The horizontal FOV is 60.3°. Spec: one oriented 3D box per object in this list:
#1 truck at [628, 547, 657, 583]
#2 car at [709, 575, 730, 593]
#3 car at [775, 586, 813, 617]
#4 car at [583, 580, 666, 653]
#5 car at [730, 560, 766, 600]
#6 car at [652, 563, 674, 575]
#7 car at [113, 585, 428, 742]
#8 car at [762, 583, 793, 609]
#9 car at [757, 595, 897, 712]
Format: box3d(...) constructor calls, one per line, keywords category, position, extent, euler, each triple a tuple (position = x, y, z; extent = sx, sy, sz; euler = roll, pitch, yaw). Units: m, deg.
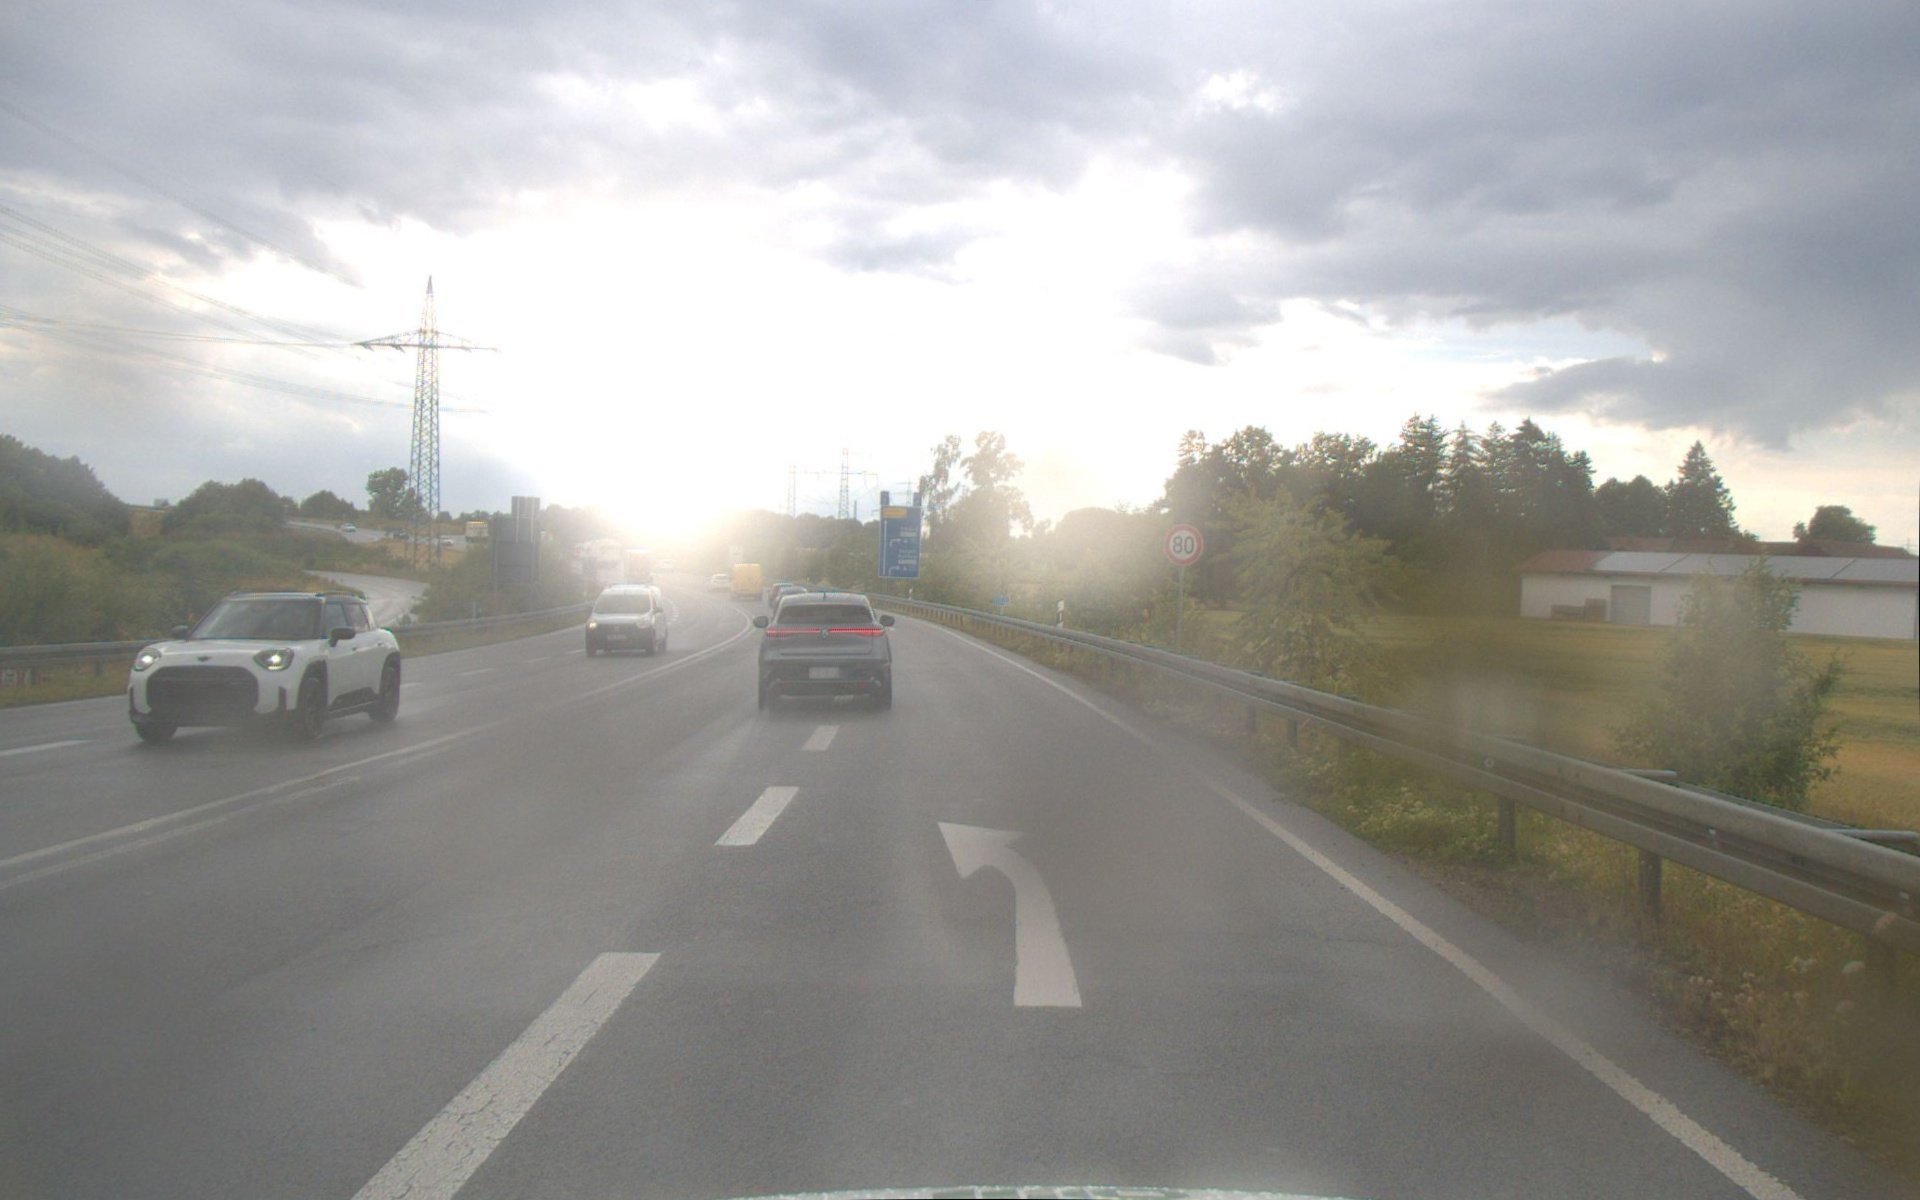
box3d(category="truck", position=(-31.513, -3.476, 164.062), extent=(2.438, 3.349, 7.255), euler=(-2, 2, -14))
box3d(category="car", position=(-20.803, -1.376, 142.944), extent=(1.758, 1.466, 3.992), euler=(-1, 1, -9))
box3d(category="car", position=(-8.153, 0.073, 81.298), extent=(1.757, 1.466, 3.995), euler=(-1, 0, -5))
box3d(category="car", position=(-8.625, 0.388, 42.805), extent=(1.756, 1.695, 4.362), euler=(3, 0, -8))
box3d(category="car", position=(-15.431, -1.411, 120.213), extent=(2.525, 2.773, 7.183), euler=(-1, 1, -8))
box3d(category="car", position=(-36.013, -3.725, 200.269), extent=(1.767, 1.466, 3.972), euler=(1, 0, -23))
box3d(category="car", position=(-7.469, 0.623, 18.410), extent=(1.730, 1.526, 4.210), euler=(-1, 0, 0))
box3d(category="car", position=(-11.378, -0.276, 103.061), extent=(1.758, 1.568, 3.992), euler=(-1, 0, -8))
box3d(category="car", position=(-1.790, 0.662, 22.814), extent=(1.756, 1.466, 3.997), euler=(0, 0, -3))
